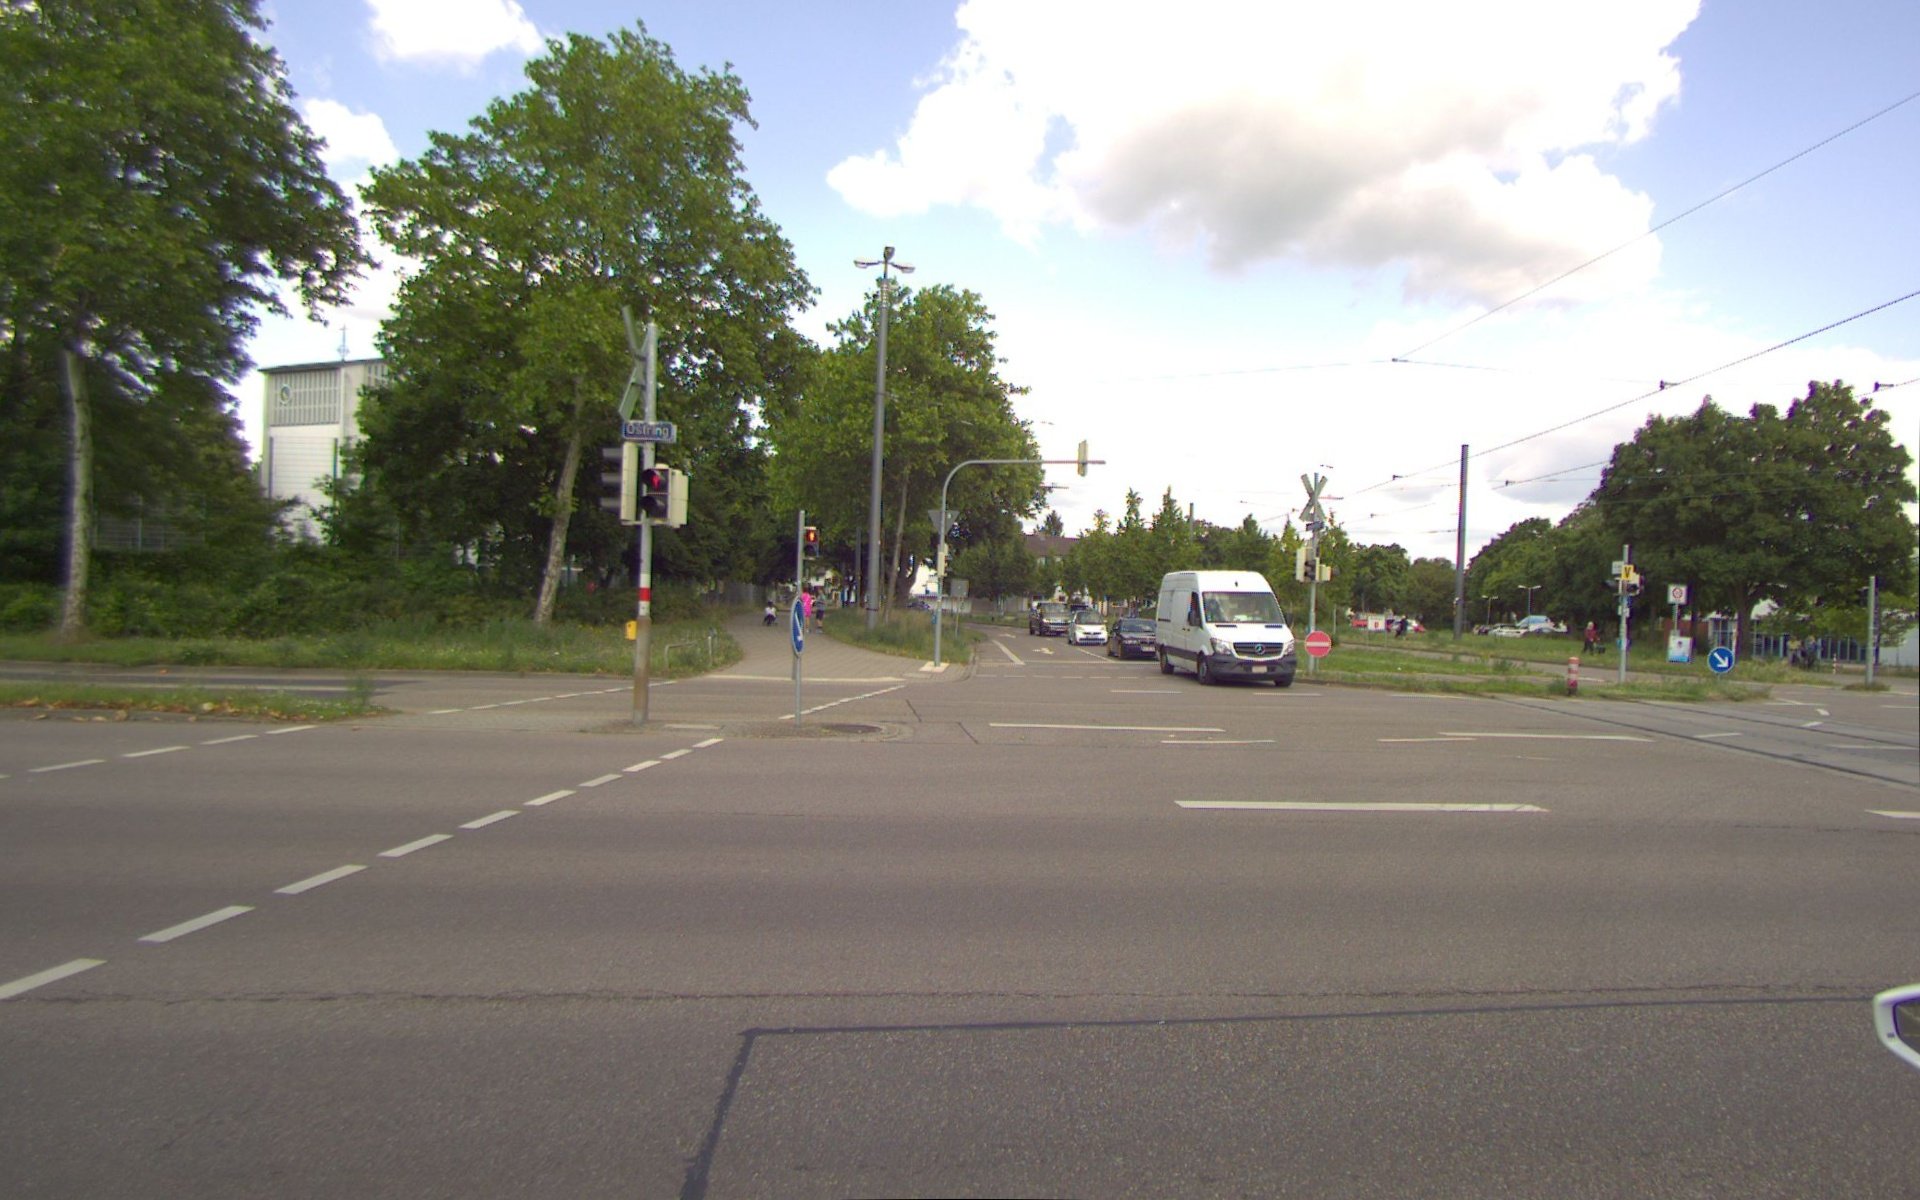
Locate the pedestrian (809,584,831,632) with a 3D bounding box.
[{"bbox_3d":[-4.926,0.286,35.378,0.620,1.641,0.611,1,0,5],"label":"pedestrian"}]

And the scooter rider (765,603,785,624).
[{"bbox_3d":[-6.919,0.501,37.576,0.600,0.738,0.859,0,0,-3],"label":"scooter rider"}]

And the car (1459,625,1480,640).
[{"bbox_3d":[63.588,4.054,125.447,1.961,1.662,4.389,2,0,22],"label":"car"}]

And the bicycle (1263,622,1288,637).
[{"bbox_3d":[23.858,2.220,75.903,0.935,1.054,1.980,2,0,-11],"label":"bicycle"}]

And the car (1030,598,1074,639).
[{"bbox_3d":[5.163,1.008,56.999,1.819,2.184,4.381,2,0,-2],"label":"car"}]

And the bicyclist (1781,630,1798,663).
[{"bbox_3d":[40.343,2.271,48.862,0.478,1.574,0.555,3,1,28],"label":"bicyclist"}]

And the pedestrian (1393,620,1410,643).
[{"bbox_3d":[26.829,1.933,61.053,0.638,1.372,0.752,0,0,-3],"label":"pedestrian"}]

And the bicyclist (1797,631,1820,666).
[{"bbox_3d":[39.133,2.226,46.340,0.478,1.574,0.555,3,1,-10],"label":"bicyclist"}]

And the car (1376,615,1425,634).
[{"bbox_3d":[39.731,2.231,90.691,3.922,1.550,1.999,2,0,22],"label":"car"}]

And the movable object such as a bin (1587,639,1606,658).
[{"bbox_3d":[28.759,2.176,45.377,0.570,0.822,0.458,0,0,-19],"label":"movable object such as a bin"}]

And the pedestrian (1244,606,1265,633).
[{"bbox_3d":[22.824,1.530,77.901,1.086,2.040,1.175,2,0,-10],"label":"pedestrian"}]

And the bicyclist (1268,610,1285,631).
[{"bbox_3d":[23.901,1.543,75.852,0.946,1.509,0.834,2,0,-10],"label":"bicyclist"}]

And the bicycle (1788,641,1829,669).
[{"bbox_3d":[39.123,2.527,46.329,0.552,1.145,1.377,3,0,-10],"label":"bicycle"}]

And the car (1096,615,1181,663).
[{"bbox_3d":[6.003,1.275,34.338,1.777,1.450,4.466,2,0,-4],"label":"car"}]

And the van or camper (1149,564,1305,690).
[{"bbox_3d":[6.094,0.558,23.779,1.943,2.558,6.036,1,0,-1],"label":"van or camper"}]

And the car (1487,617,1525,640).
[{"bbox_3d":[42.096,2.167,77.528,1.961,1.662,4.389,2,0,22],"label":"car"}]

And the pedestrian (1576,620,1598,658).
[{"bbox_3d":[28.610,1.774,45.847,0.603,1.666,0.636,0,0,-18],"label":"pedestrian"}]

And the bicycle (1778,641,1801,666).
[{"bbox_3d":[40.293,2.608,48.794,0.552,1.145,1.378,2,0,28],"label":"bicycle"}]

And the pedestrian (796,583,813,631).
[{"bbox_3d":[-5.373,0.246,34.698,0.413,1.641,0.596,1,0,5],"label":"pedestrian"}]

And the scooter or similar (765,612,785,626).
[{"bbox_3d":[-6.919,0.703,37.582,0.599,0.518,0.857,0,0,-3],"label":"scooter or similar"}]

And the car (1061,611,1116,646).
[{"bbox_3d":[5.882,1.278,46.372,1.776,1.450,4.381,2,0,-2],"label":"car"}]

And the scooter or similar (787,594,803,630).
[{"bbox_3d":[-5.734,0.414,34.947,0.315,1.248,0.776,0,0,7],"label":"scooter or similar"}]

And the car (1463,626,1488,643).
[{"bbox_3d":[54.701,3.592,106.662,1.961,1.662,4.389,2,0,22],"label":"car"}]
